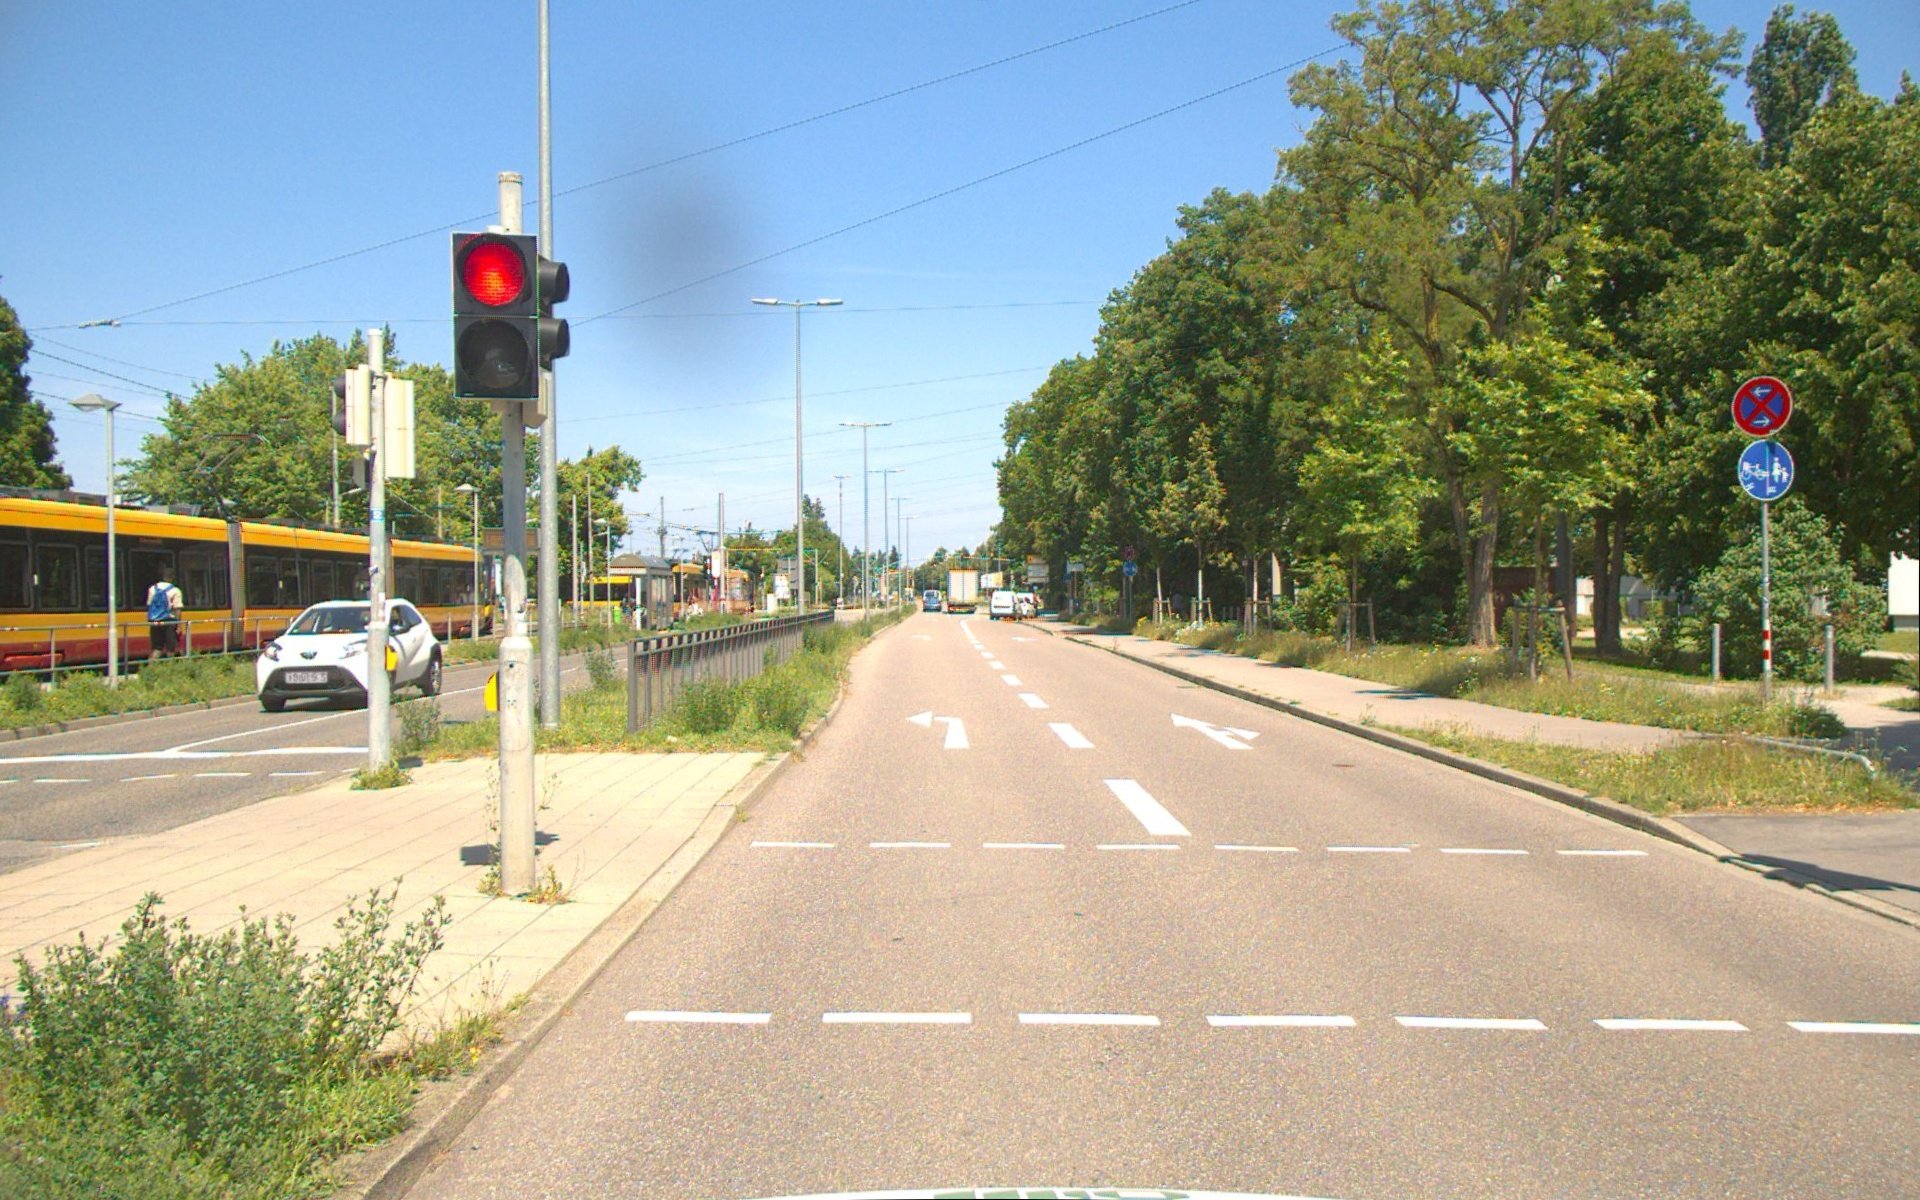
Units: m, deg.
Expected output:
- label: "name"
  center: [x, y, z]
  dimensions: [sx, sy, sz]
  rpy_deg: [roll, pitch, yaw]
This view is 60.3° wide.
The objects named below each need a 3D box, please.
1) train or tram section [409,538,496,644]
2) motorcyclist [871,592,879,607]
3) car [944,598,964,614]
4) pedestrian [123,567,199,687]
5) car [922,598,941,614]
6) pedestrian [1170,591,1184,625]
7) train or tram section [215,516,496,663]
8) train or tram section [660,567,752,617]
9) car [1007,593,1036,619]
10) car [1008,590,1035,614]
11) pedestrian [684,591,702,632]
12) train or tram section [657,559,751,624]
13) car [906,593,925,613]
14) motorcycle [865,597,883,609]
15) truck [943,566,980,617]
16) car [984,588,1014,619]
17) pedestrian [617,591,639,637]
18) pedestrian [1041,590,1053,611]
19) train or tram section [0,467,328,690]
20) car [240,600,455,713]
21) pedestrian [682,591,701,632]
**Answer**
- label: "train or tram section"
  center: [-22.051, -0.371, 71.970]
  dimensions: [3.165, 4.000, 18.411]
  rpy_deg: [0, 0, -17]
- label: "motorcyclist"
  center: [-10.231, -0.037, 199.112]
  dimensions: [0.908, 1.867, 0.847]
  rpy_deg: [0, 0, -12]
- label: "car"
  center: [-0.595, 0.557, 153.601]
  dimensions: [1.774, 1.490, 3.999]
  rpy_deg: [0, 0, -1]
- label: "pedestrian"
  center: [-12.652, 0.416, 26.211]
  dimensions: [0.703, 1.808, 0.842]
  rpy_deg: [4, 2, -1]
- label: "car"
  center: [-2.690, 0.516, 157.837]
  dimensions: [1.774, 1.490, 3.999]
  rpy_deg: [0, 0, -1]
- label: "pedestrian"
  center: [9.446, 0.344, 71.909]
  dimensions: [0.591, 1.463, 0.556]
  rpy_deg: [0, 0, 6]
- label: "train or tram section"
  center: [-19.138, -0.322, 54.517]
  dimensions: [3.151, 4.000, 18.492]
  rpy_deg: [0, 0, -2]
- label: "train or tram section"
  center: [-22.311, -0.693, 142.315]
  dimensions: [2.885, 3.856, 32.923]
  rpy_deg: [0, 0, -17]
- label: "car"
  center: [4.178, 0.394, 112.504]
  dimensions: [1.743, 1.698, 3.999]
  rpy_deg: [0, 0, -1]
- label: "car"
  center: [4.402, 0.114, 118.855]
  dimensions: [1.743, 1.698, 3.999]
  rpy_deg: [0, 0, -1]
- label: "pedestrian"
  center: [-13.469, 0.585, 83.440]
  dimensions: [0.798, 2.049, 0.938]
  rpy_deg: [0, 0, -1]
- label: "train or tram section"
  center: [-16.934, -0.582, 112.256]
  dimensions: [2.898, 3.815, 30.018]
  rpy_deg: [0, 0, -2]
- label: "car"
  center: [-4.702, 0.326, 175.090]
  dimensions: [1.953, 2.049, 3.999]
  rpy_deg: [0, 0, -1]
- label: "motorcycle"
  center: [-10.339, 0.410, 199.073]
  dimensions: [2.144, 1.431, 0.845]
  rpy_deg: [0, 0, -12]
- label: "truck"
  center: [0.067, -0.736, 146.066]
  dimensions: [3.140, 4.435, 6.559]
  rpy_deg: [0, 0, -1]
- label: "car"
  center: [2.450, 0.216, 105.550]
  dimensions: [1.743, 1.937, 3.999]
  rpy_deg: [0, 0, -1]
- label: "pedestrian"
  center: [-13.853, 0.587, 69.082]
  dimensions: [0.769, 1.901, 0.817]
  rpy_deg: [0, 0, -1]
- label: "pedestrian"
  center: [8.606, 0.080, 163.564]
  dimensions: [1.161, 2.049, 1.213]
  rpy_deg: [0, 0, -1]
- label: "train or tram section"
  center: [-18.839, -0.406, 36.065]
  dimensions: [3.150, 4.000, 18.498]
  rpy_deg: [0, 0, 0]
- label: "car"
  center: [-8.927, 0.774, 24.451]
  dimensions: [1.807, 1.521, 3.790]
  rpy_deg: [0, 0, -1]
- label: "pedestrian"
  center: [-13.746, 0.586, 84.729]
  dimensions: [0.798, 2.049, 0.938]
  rpy_deg: [0, 0, -1]
